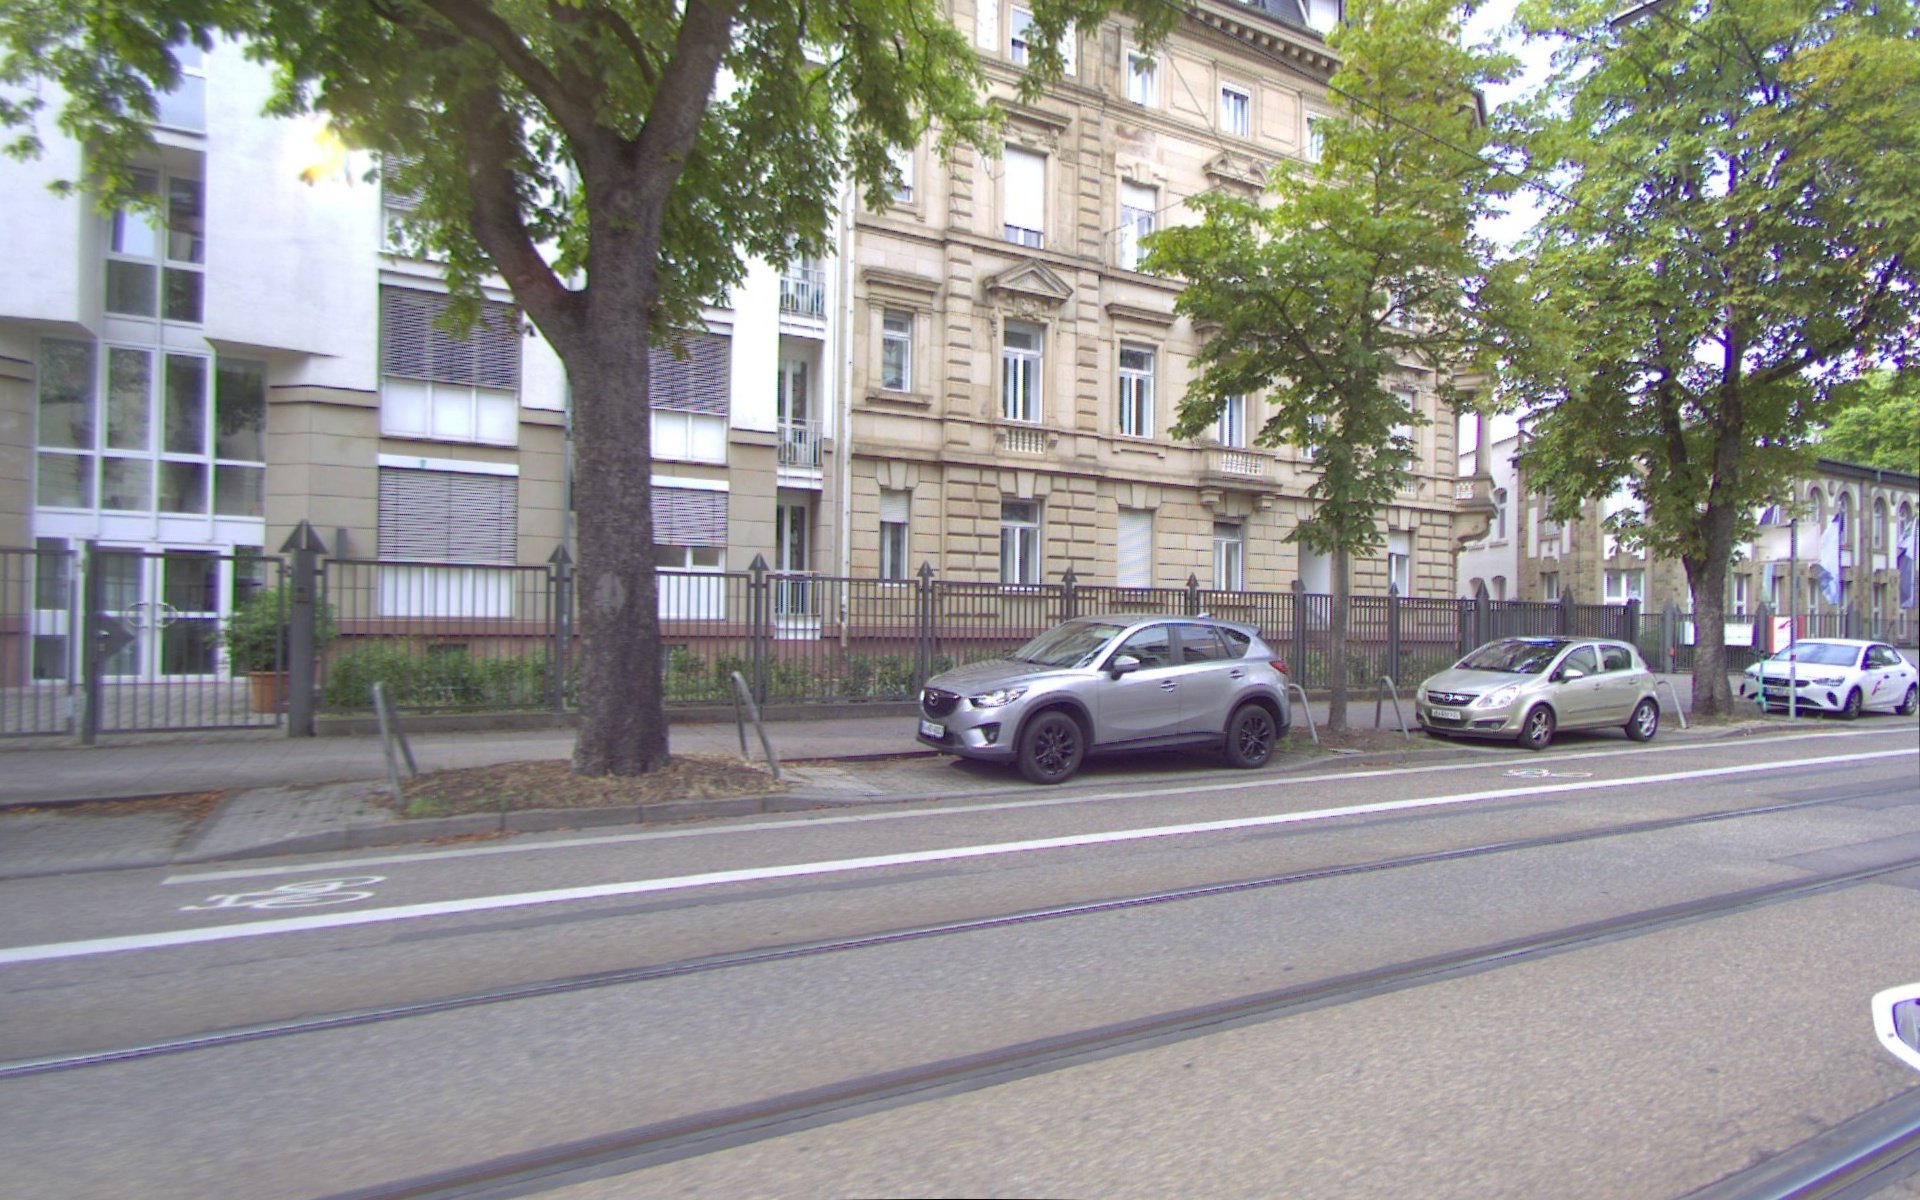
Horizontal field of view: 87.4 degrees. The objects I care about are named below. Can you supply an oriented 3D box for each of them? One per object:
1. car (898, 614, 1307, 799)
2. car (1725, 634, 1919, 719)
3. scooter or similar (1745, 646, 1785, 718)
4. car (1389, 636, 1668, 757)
[{"bbox_3d":[1.630,1.042,11.101,4.302,1.696,1.703,1,-1,-28],"label":"car"},{"bbox_3d":[17.126,1.452,19.845,3.974,1.443,1.714,1,1,-29],"label":"car"},{"bbox_3d":[14.752,1.476,18.408,0.554,1.239,1.318,0,-1,39],"label":"scooter or similar"},{"bbox_3d":[8.226,1.295,14.470,4.028,1.487,1.594,1,-1,-28],"label":"car"}]
